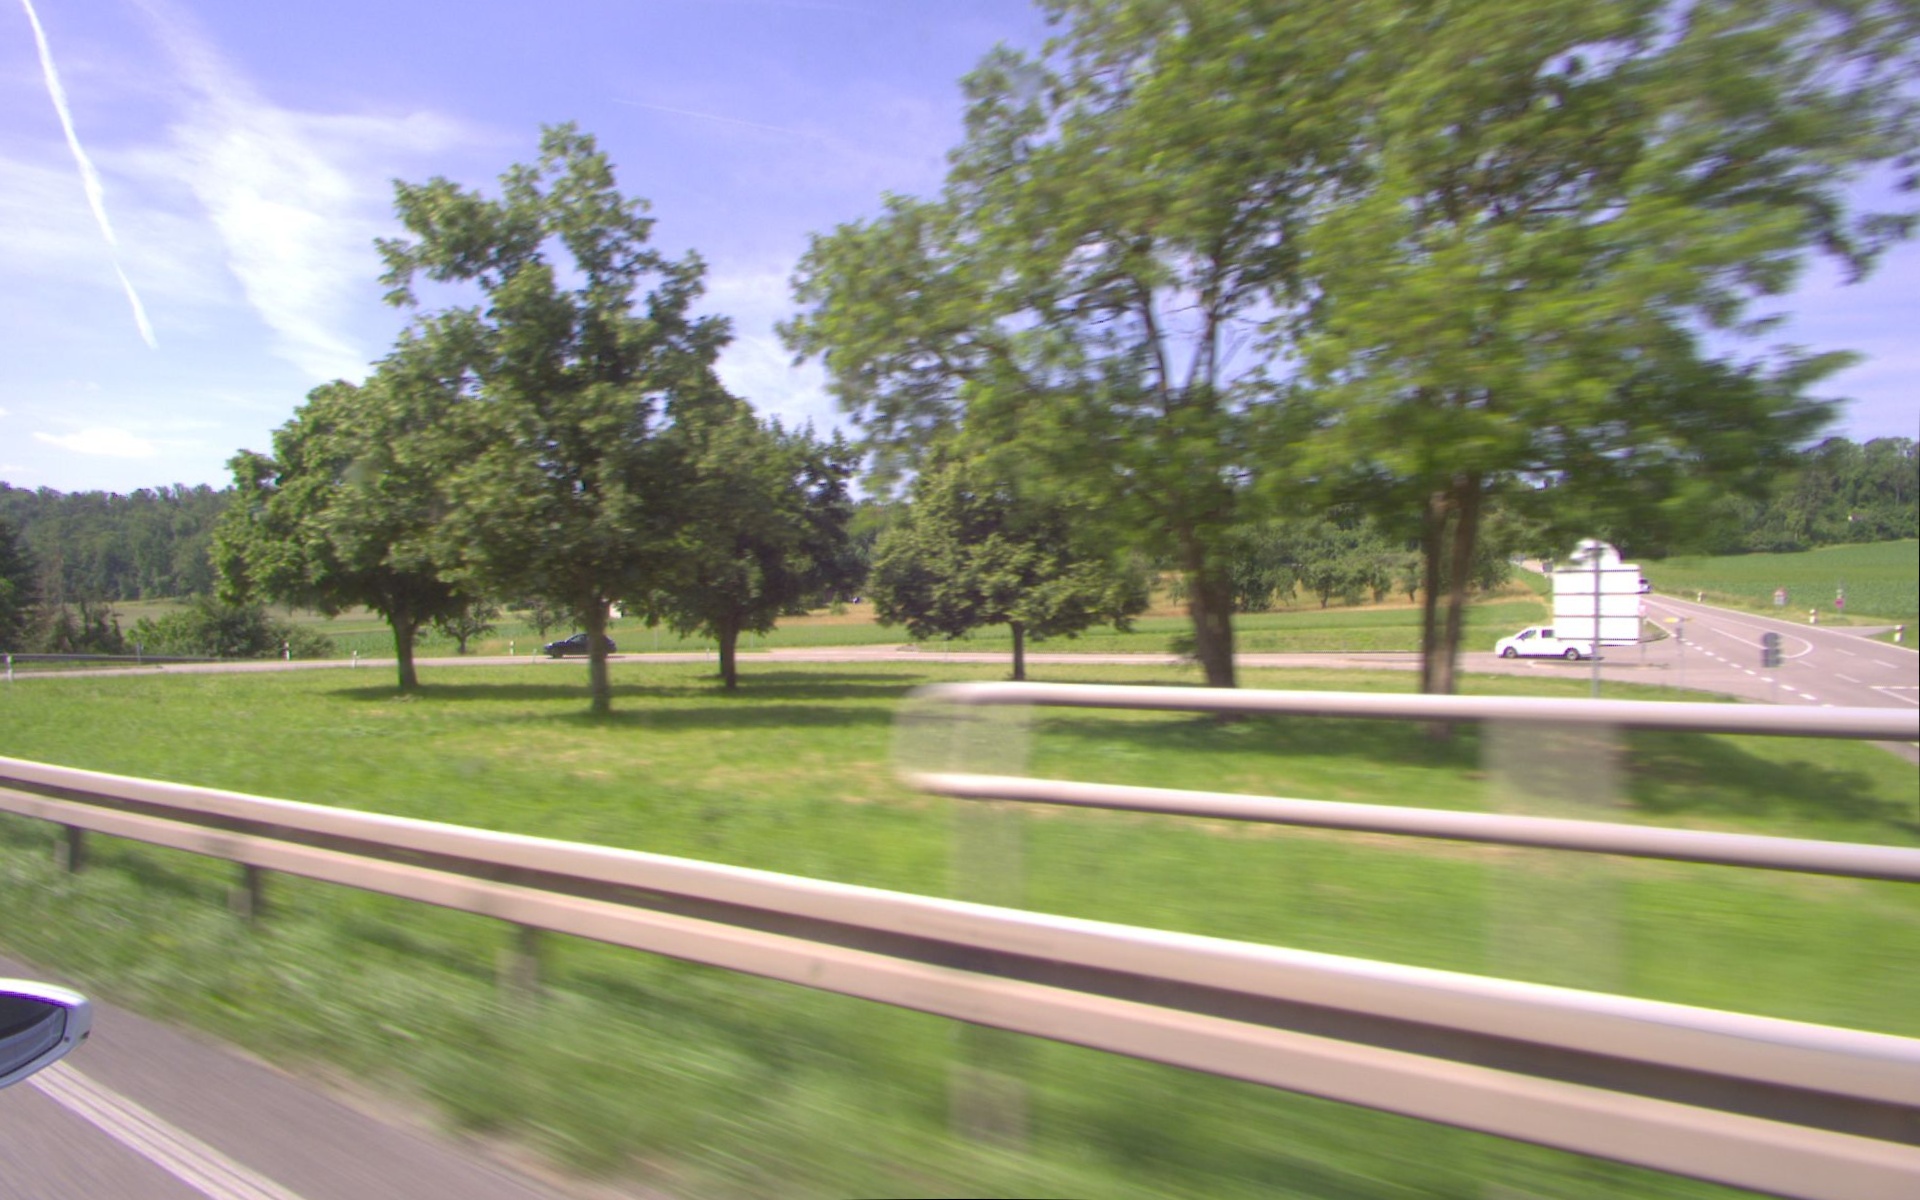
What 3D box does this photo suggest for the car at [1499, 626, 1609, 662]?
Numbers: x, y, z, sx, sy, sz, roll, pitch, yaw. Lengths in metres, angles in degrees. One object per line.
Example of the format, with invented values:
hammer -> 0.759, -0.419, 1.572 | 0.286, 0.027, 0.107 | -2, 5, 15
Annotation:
car -> 34.765, 2.538, 58.682 | 5.355, 1.872, 1.984 | 0, 1, 39

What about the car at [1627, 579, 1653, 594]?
car -> 79.727, -1.547, 117.464 | 1.781, 1.571, 3.984 | 0, 4, 24

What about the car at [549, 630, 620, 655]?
car -> -25.241, 2.832, 67.341 | 4.357, 1.611, 2.057 | 1, 0, -22
